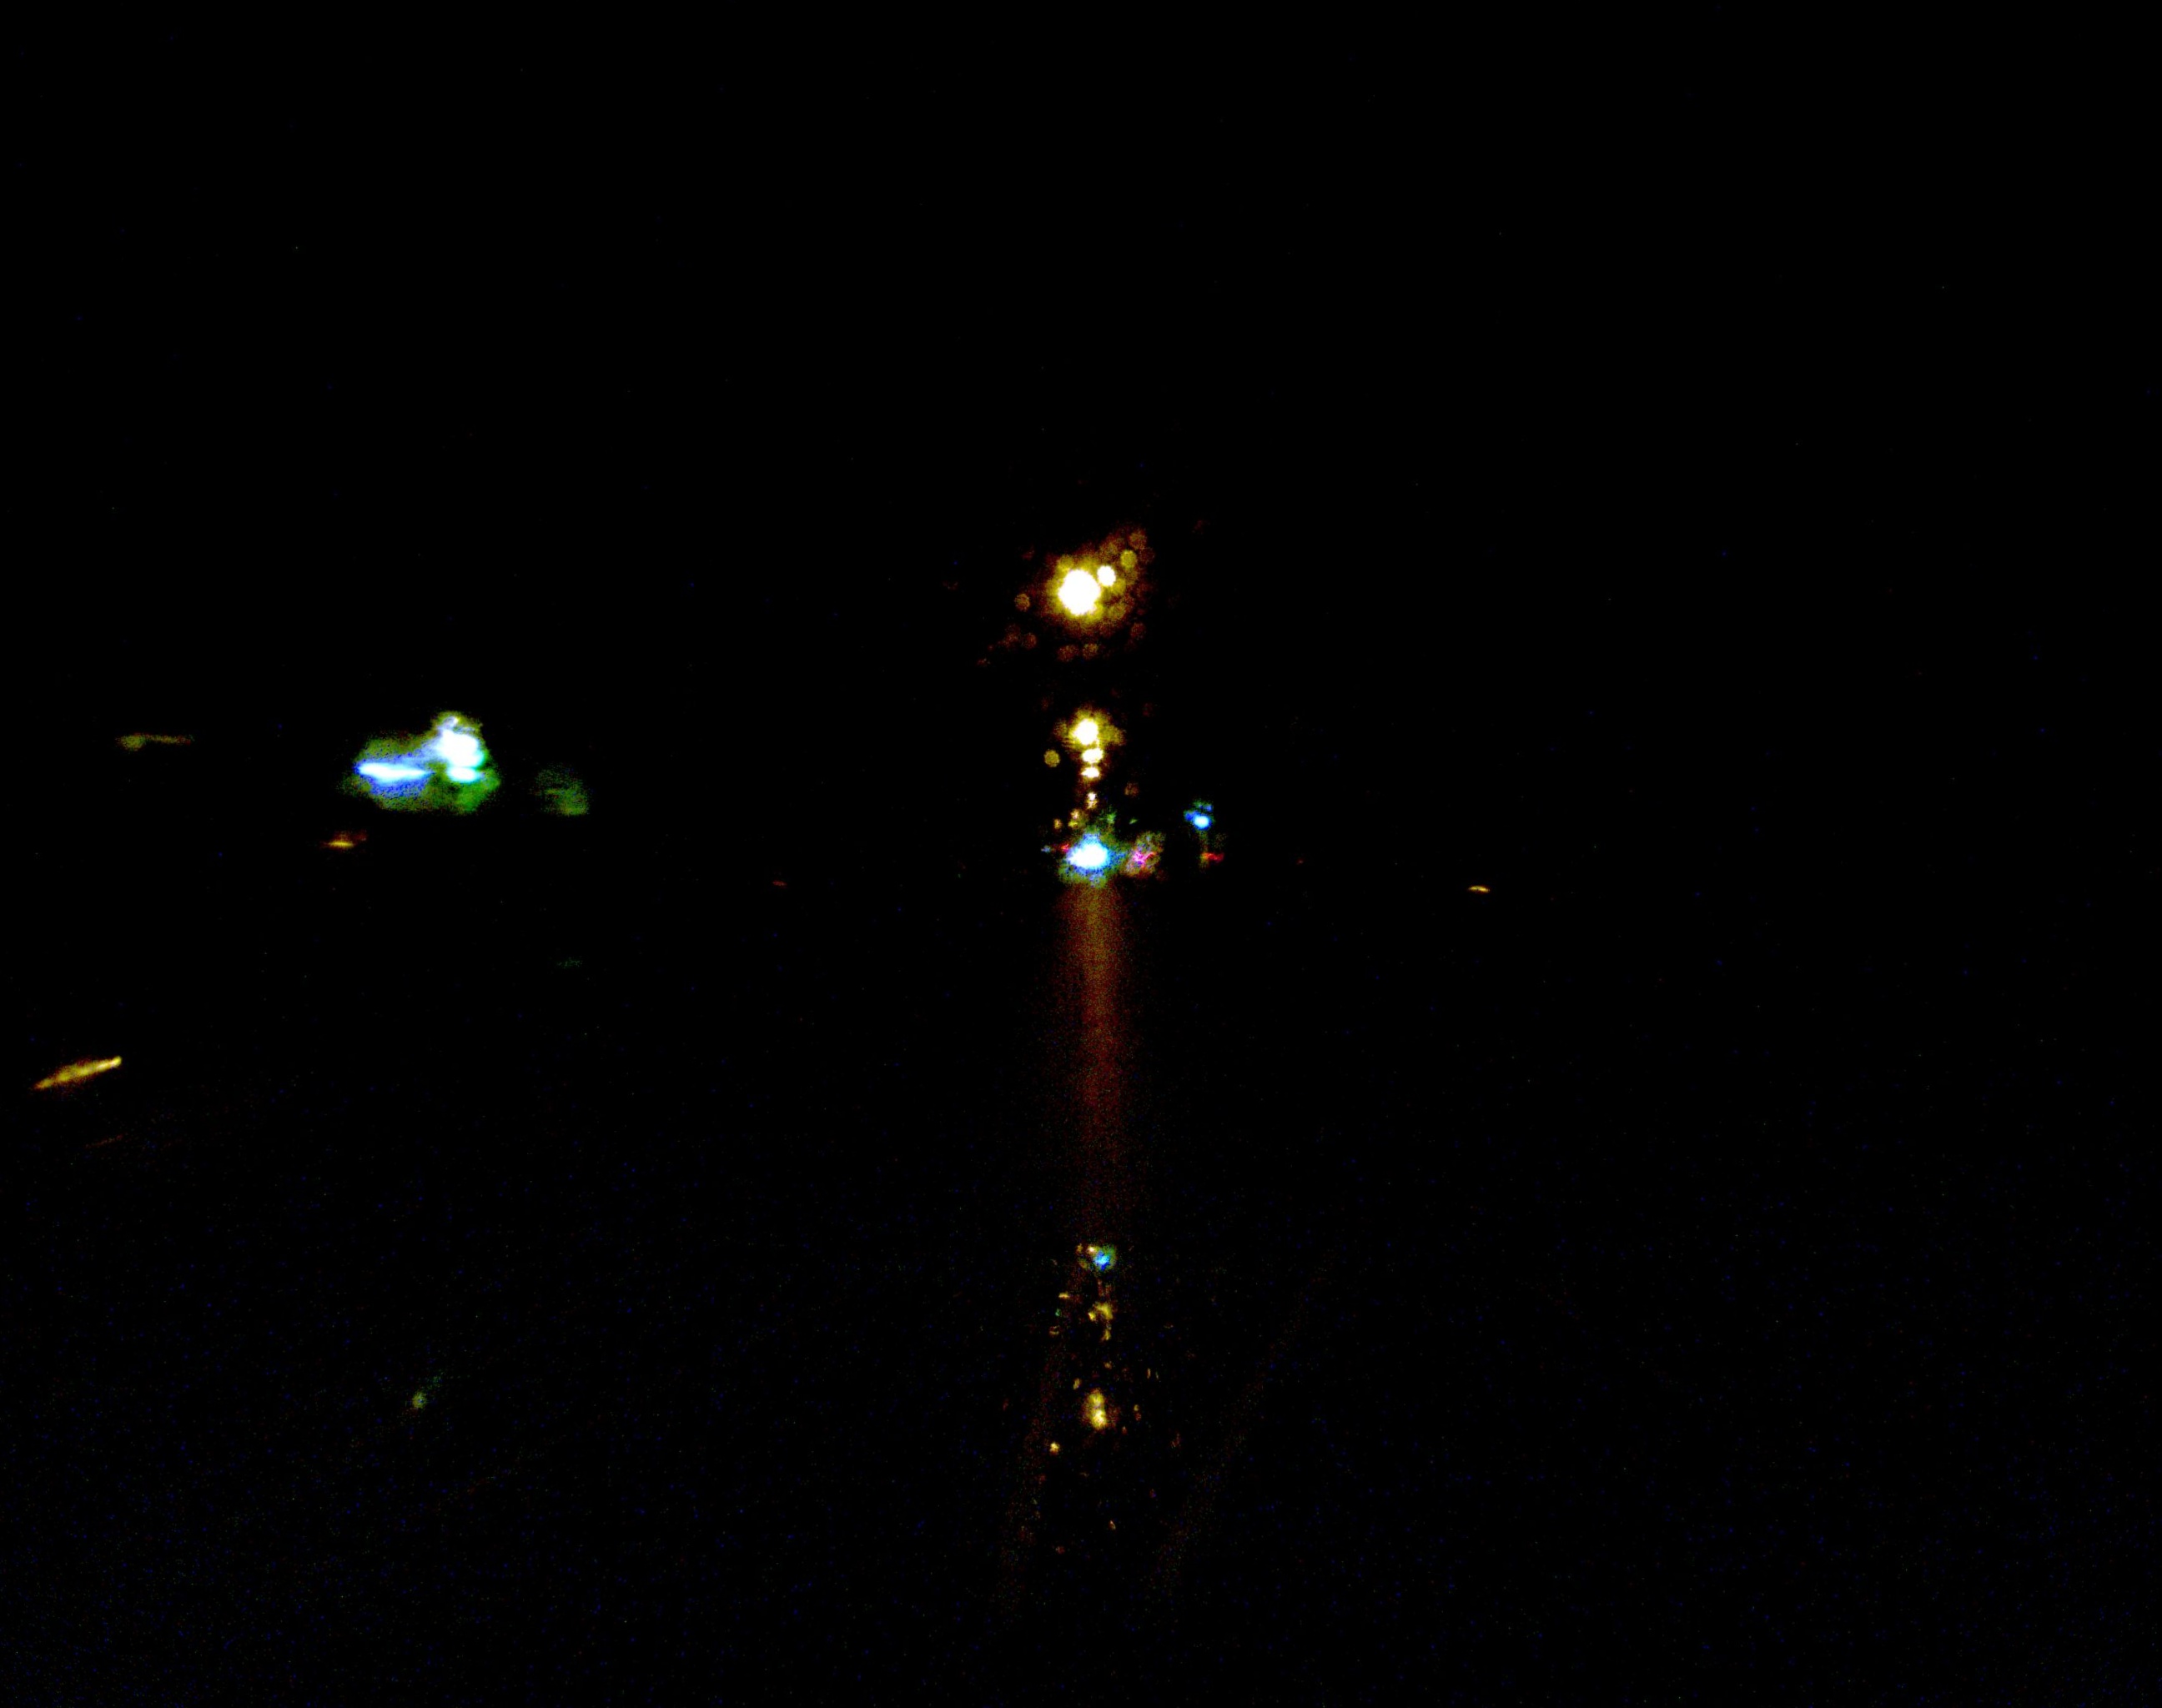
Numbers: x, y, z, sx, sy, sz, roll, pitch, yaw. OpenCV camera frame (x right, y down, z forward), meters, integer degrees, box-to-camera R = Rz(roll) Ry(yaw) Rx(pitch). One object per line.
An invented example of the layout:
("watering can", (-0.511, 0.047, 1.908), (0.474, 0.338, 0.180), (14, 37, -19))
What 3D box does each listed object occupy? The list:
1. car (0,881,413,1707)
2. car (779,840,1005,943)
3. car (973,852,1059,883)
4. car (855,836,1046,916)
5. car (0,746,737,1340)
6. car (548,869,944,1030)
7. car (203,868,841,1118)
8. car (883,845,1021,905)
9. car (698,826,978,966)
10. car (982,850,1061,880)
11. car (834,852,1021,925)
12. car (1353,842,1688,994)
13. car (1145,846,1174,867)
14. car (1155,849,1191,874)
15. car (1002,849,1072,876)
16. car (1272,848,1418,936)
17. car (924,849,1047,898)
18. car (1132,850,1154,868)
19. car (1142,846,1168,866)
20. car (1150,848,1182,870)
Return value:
("car", (-3.635, 0.860, 0.783), (4.078, 1.588, 1.830), (1, 0, -27))
("car", (-3.662, 0.674, 14.992), (3.942, 1.782, 1.738), (1, 1, -36))
("car", (-3.266, 0.687, 37.934), (3.939, 1.455, 1.707), (1, 0, -22))
("car", (-3.529, 0.564, 20.701), (4.719, 1.968, 1.975), (1, 0, -28))
("car", (-3.790, 0.638, 3.513), (3.747, 2.017, 1.717), (1, 1, -34))
("car", (-3.889, 0.957, 9.128), (4.064, 1.444, 1.674), (-1, 0, -34))
("car", (-4.053, 0.875, 6.185), (3.712, 1.444, 1.654), (1, 0, -31))
("car", (-4.013, 0.631, 23.593), (3.938, 1.732, 1.707), (1, 0, -21))
("car", (-3.849, 0.595, 12.279), (3.942, 1.931, 1.738), (1, 1, -36))
("car", (-3.234, 0.594, 41.341), (3.939, 1.553, 1.707), (1, 0, -22))
("car", (-3.595, 0.759, 17.957), (3.941, 1.541, 1.739), (1, 0, -33))
("car", (5.109, 0.617, 9.607), (1.721, 1.470, 4.158), (-1, 0, -2))
("car", (6.148, 0.193, 59.818), (1.851, 1.571, 3.735), (-2, 0, 1))
("car", (5.761, 0.423, 48.074), (1.851, 1.470, 3.735), (-2, 0, 1))
("car", (-2.713, 0.543, 46.653), (3.939, 1.553, 1.707), (1, 0, -22))
("car", (5.021, 0.642, 14.985), (1.720, 1.470, 3.786), (-2, 0, 3))
("car", (-3.355, 0.674, 26.525), (3.938, 1.610, 1.707), (1, 0, -21))
("car", (5.919, 0.436, 72.711), (1.851, 1.571, 3.735), (-2, 0, 1))
("car", (6.256, 0.182, 64.662), (1.851, 1.571, 3.735), (-2, 0, 1))
("car", (5.936, 0.340, 53.688), (1.851, 1.470, 3.735), (-2, 0, 1))
